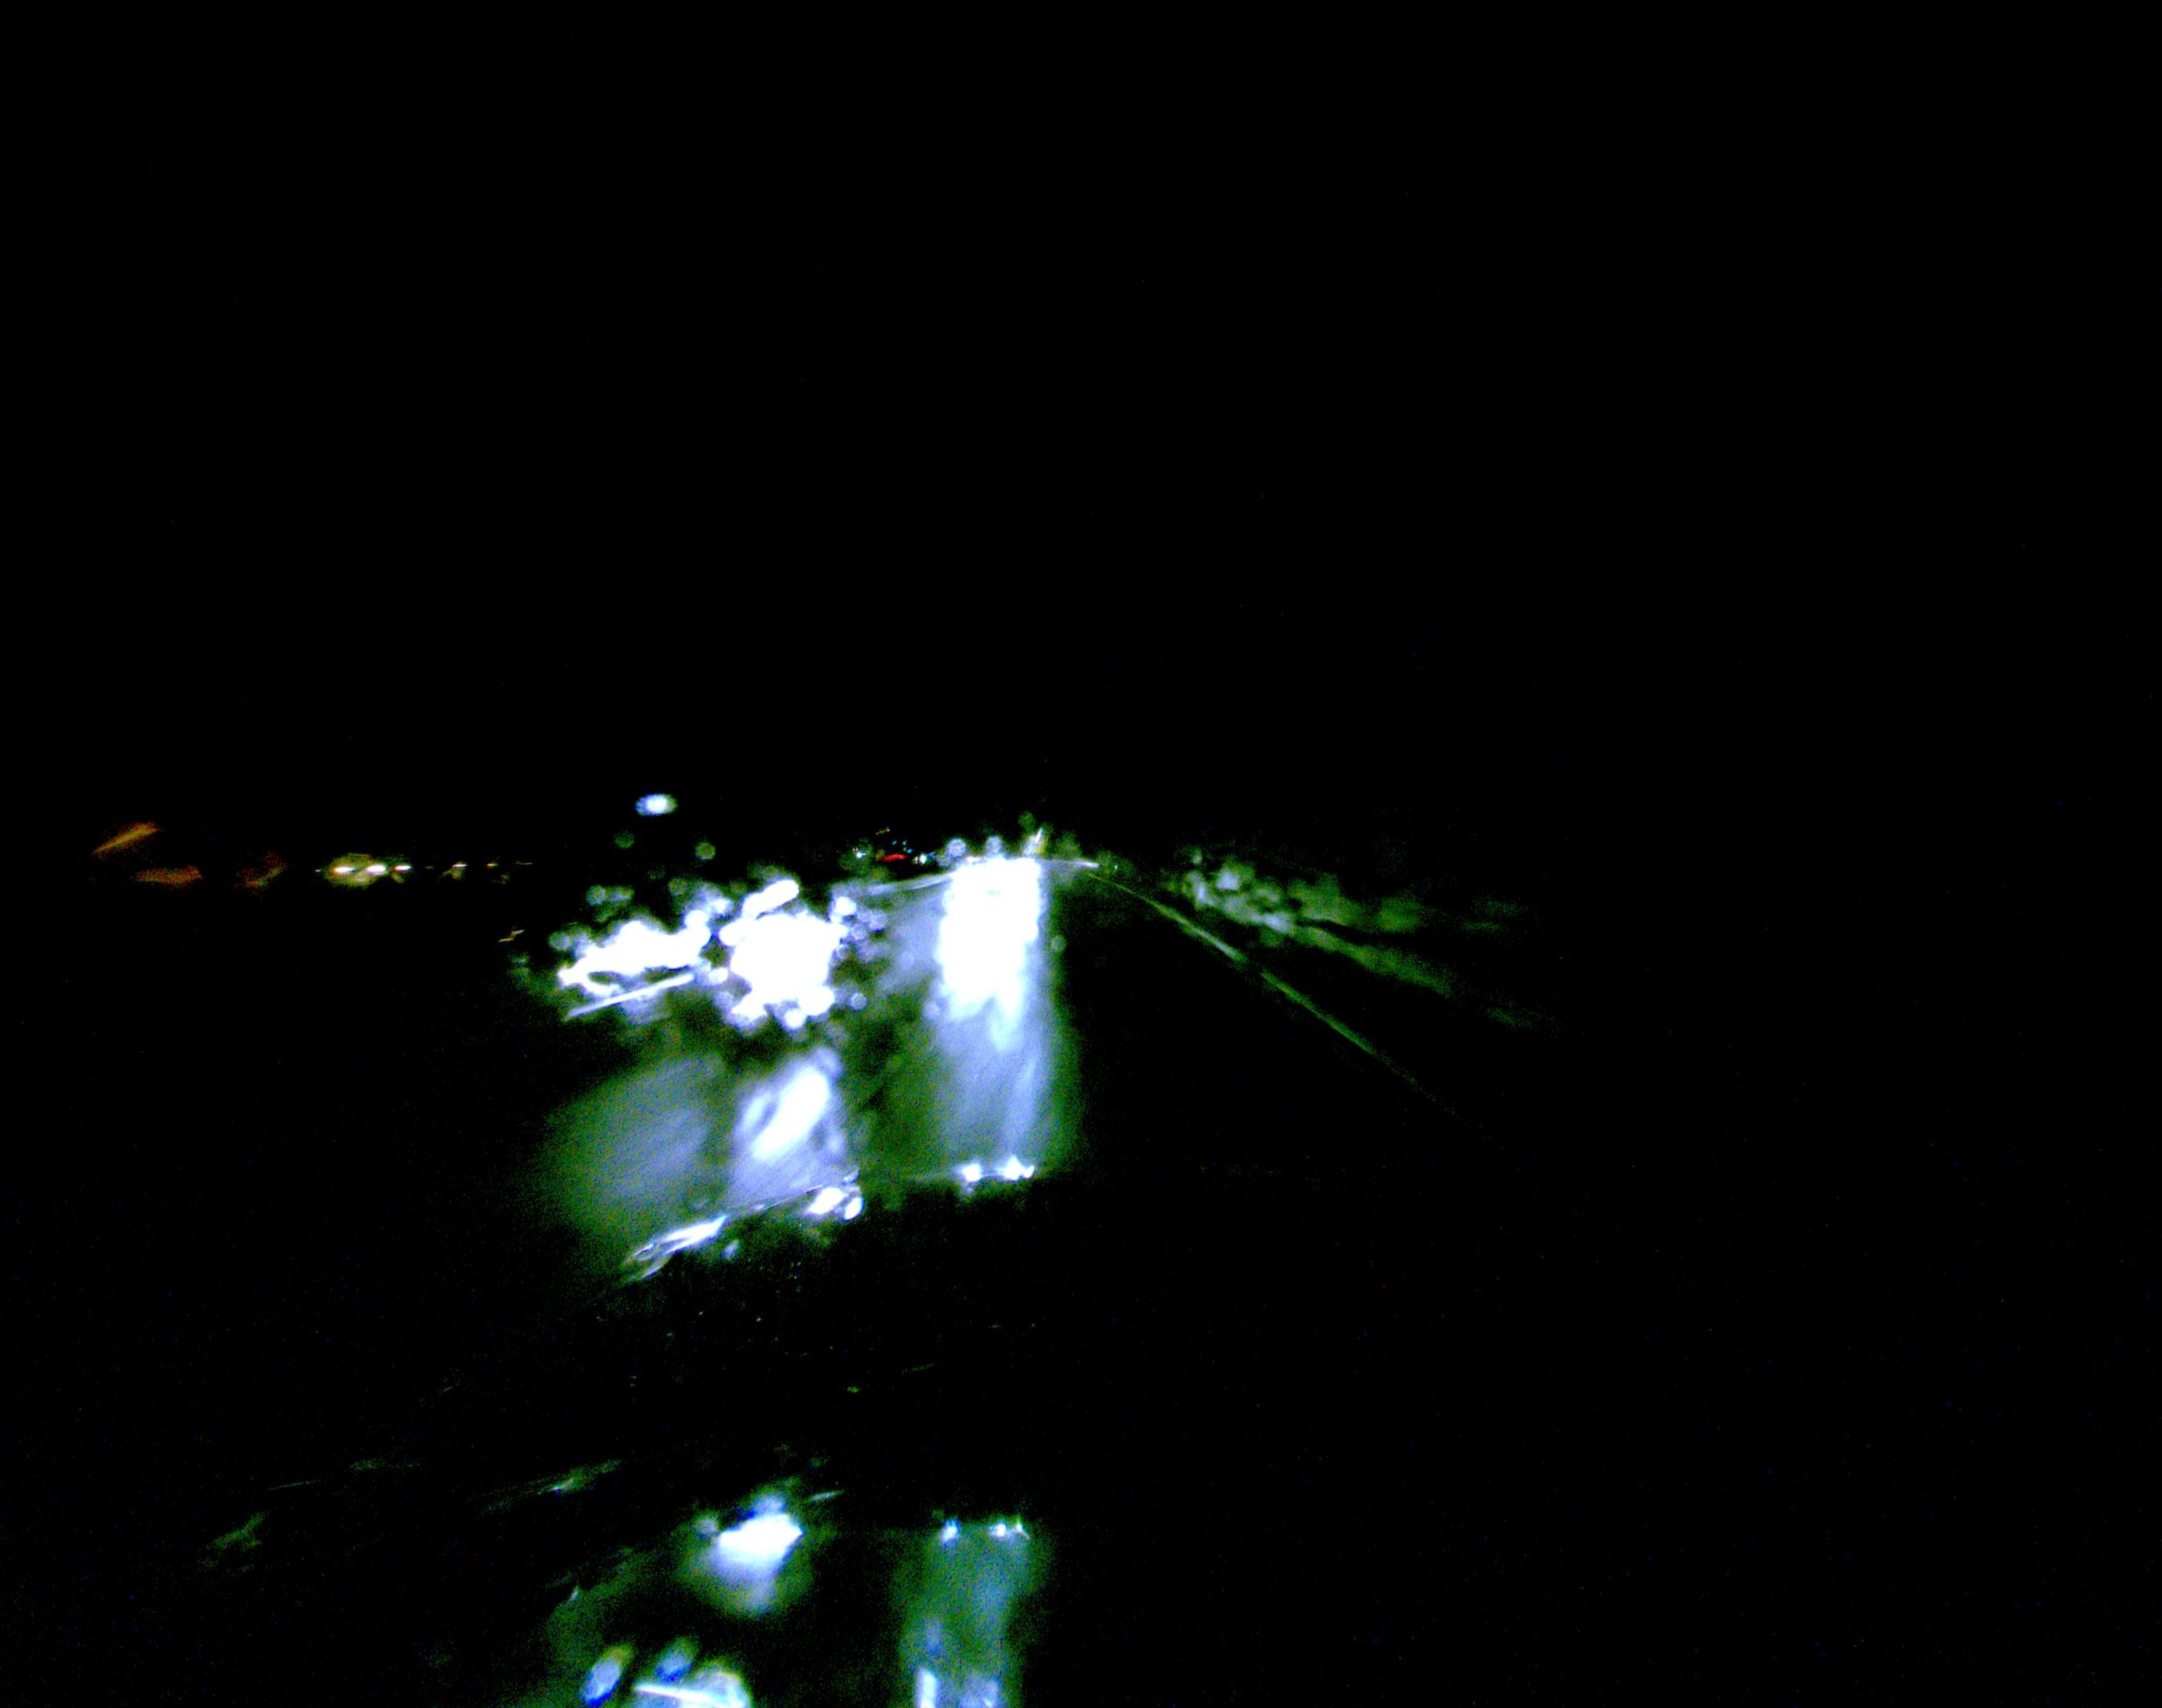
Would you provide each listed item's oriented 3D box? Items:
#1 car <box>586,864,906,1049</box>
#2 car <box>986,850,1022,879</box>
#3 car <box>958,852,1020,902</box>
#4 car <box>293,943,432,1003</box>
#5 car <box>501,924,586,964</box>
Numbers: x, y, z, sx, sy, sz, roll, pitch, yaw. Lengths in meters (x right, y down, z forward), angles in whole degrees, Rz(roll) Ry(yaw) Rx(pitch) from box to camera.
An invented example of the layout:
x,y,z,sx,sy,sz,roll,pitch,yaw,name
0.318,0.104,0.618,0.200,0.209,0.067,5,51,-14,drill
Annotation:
x,y,z,sx,sy,sz,roll,pitch,yaw,name
-3.160,0.868,8.559,1.779,1.479,3.680,-1,0,1,car
-4.920,0.657,52.835,1.988,1.806,4.592,-1,0,-2,car
-3.309,0.800,30.031,1.803,1.676,4.291,-1,0,0,car
-27.484,4.498,31.353,1.806,1.676,4.284,-1,0,-6,car
-27.462,4.555,41.765,1.806,1.570,4.284,-1,0,-6,car
